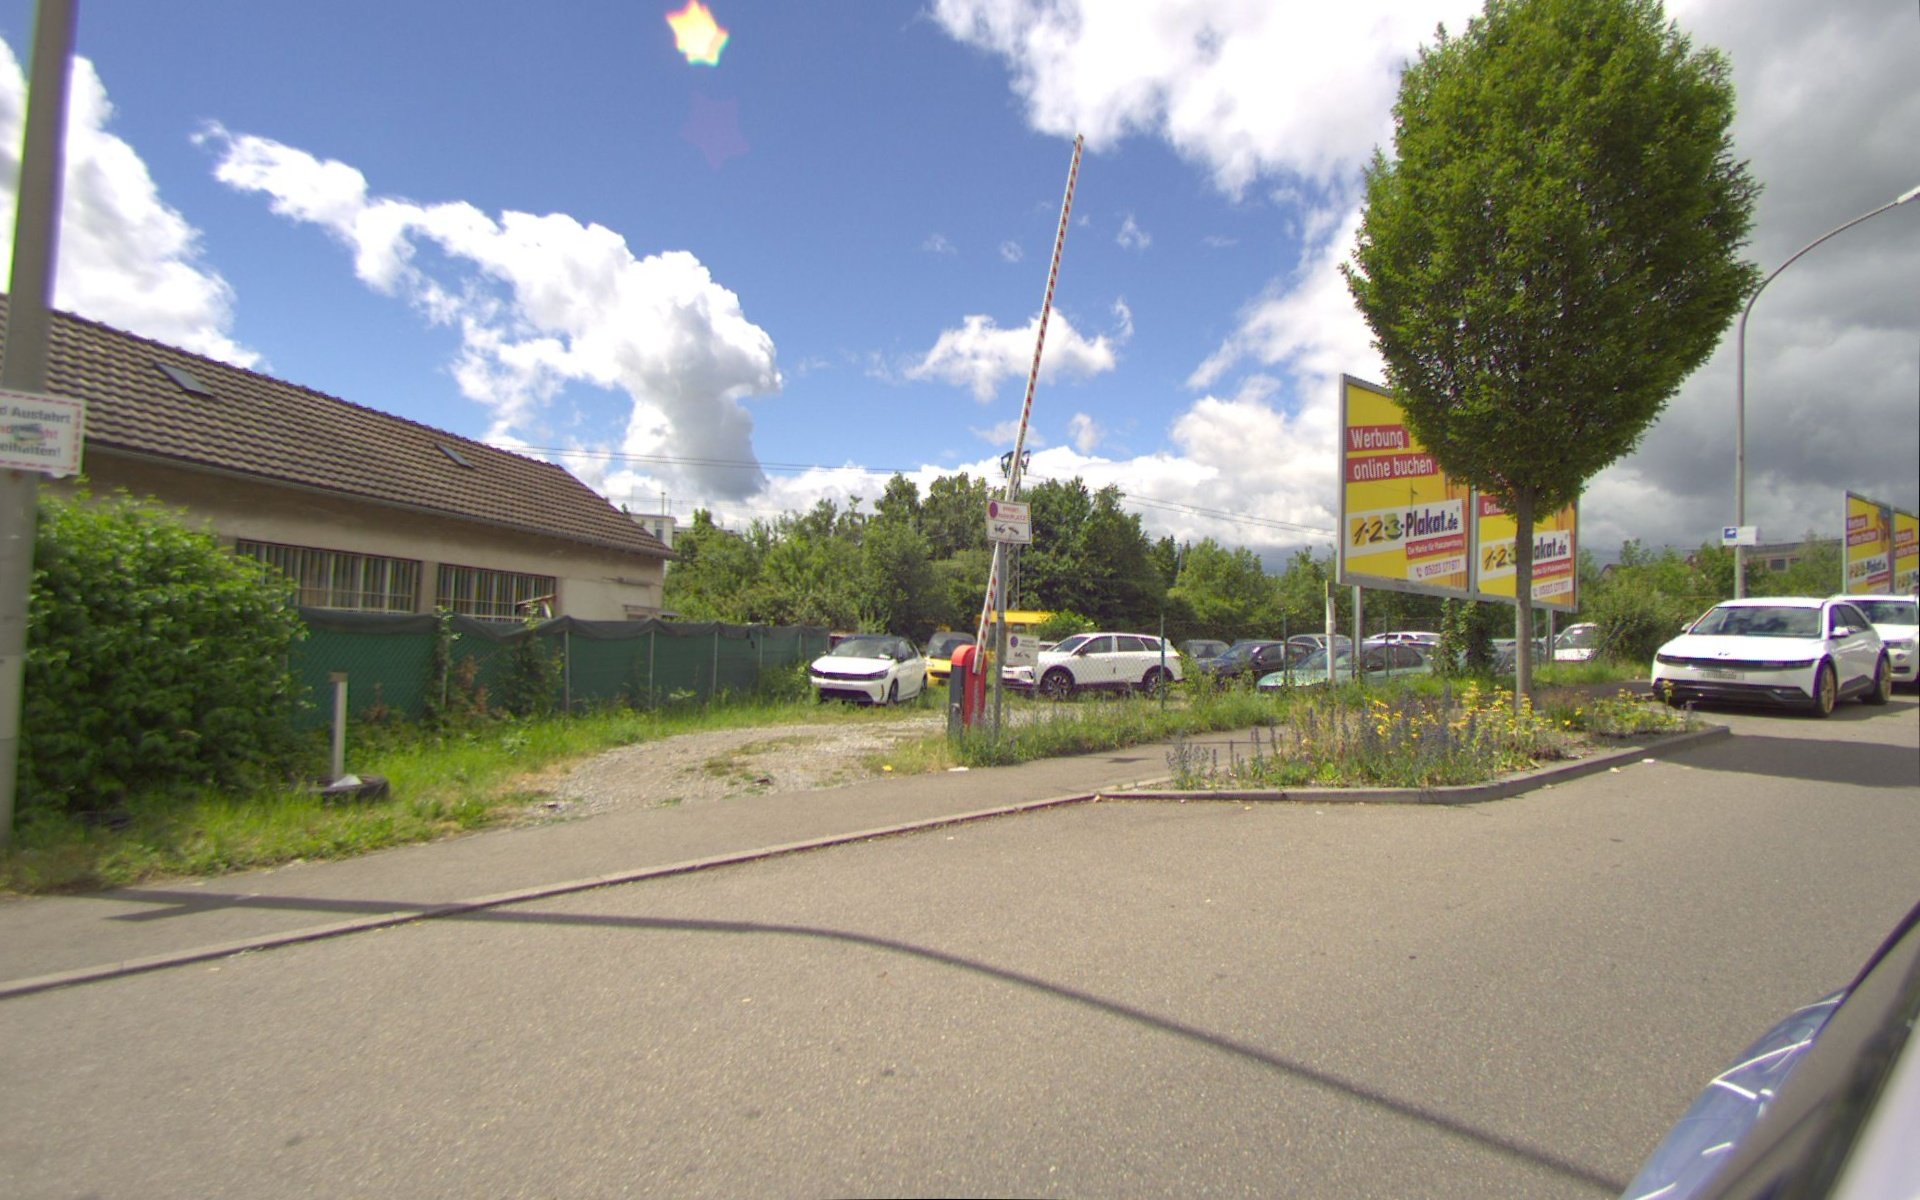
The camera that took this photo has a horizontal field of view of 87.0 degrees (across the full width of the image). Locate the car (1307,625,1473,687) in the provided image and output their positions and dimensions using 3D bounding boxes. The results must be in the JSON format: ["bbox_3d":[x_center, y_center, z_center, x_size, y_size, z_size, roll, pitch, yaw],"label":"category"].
[{"bbox_3d":[12.338,1.545,29.017,4.486,1.536,1.761,0,1,-24],"label":"car"}]

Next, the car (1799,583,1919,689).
[{"bbox_3d":[16.592,0.558,17.972,4.397,1.680,1.690,0,0,-38],"label":"car"}]

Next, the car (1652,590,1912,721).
[{"bbox_3d":[11.912,0.670,14.579,4.382,1.585,1.848,0,1,-36],"label":"car"}]

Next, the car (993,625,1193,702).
[{"bbox_3d":[3.283,1.518,25.118,4.580,1.706,1.759,1,1,-19],"label":"car"}]

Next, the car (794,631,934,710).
[{"bbox_3d":[-1.819,1.350,20.525,1.717,1.408,4.028,1,-2,12],"label":"car"}]

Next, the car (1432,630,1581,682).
[{"bbox_3d":[16.749,1.667,31.042,4.066,1.465,1.703,0,-1,-19],"label":"car"}]

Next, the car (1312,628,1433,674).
[{"bbox_3d":[14.045,1.714,34.714,1.719,1.347,4.008,0,0,-16],"label":"car"}]

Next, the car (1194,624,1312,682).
[{"bbox_3d":[9.388,1.646,32.746,1.758,1.632,4.008,0,0,-16],"label":"car"}]

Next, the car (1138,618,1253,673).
[{"bbox_3d":[7.294,1.373,31.761,1.707,1.407,4.053,0,1,-16],"label":"car"}]

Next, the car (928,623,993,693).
[{"bbox_3d":[0.051,1.380,25.401,1.496,1.407,4.043,1,1,1],"label":"car"}]

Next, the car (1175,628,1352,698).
[{"bbox_3d":[8.131,1.626,27.122,4.369,1.642,1.822,0,1,-22],"label":"car"}]

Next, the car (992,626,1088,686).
[{"bbox_3d":[2.233,1.566,29.508,1.753,1.407,4.196,0,1,-10],"label":"car"}]

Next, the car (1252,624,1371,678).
[{"bbox_3d":[11.722,1.659,34.064,1.784,1.578,4.008,0,0,-16],"label":"car"}]

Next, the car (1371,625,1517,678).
[{"bbox_3d":[16.579,1.706,34.910,1.958,1.574,4.470,0,0,-19],"label":"car"}]
